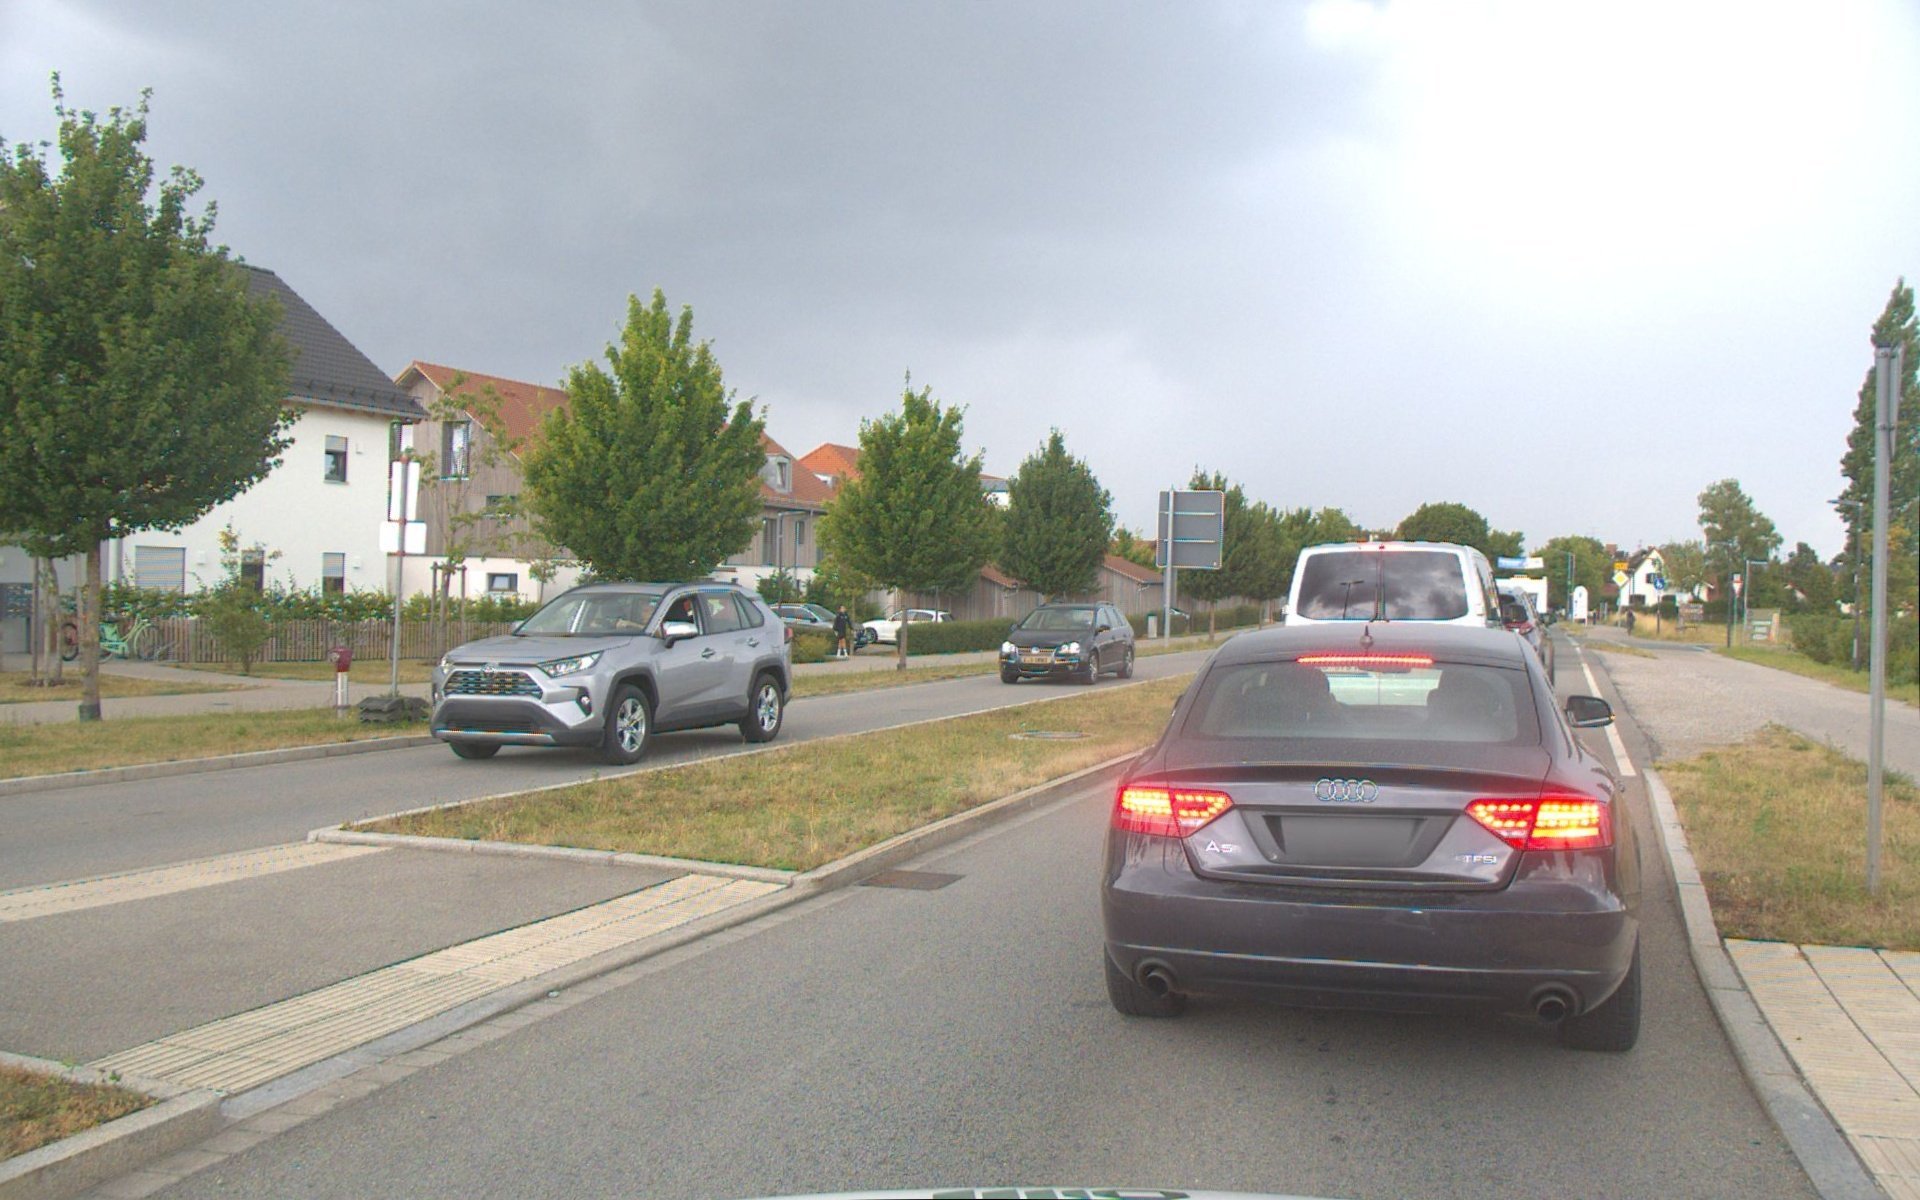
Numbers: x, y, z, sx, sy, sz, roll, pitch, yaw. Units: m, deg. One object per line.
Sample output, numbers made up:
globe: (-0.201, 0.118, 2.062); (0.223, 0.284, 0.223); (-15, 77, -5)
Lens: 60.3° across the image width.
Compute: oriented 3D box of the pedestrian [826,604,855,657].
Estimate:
pedestrian: (-3.650, 0.910, 50.388); (0.645, 1.586, 0.582); (1, 0, 30)

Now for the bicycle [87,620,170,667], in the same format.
bicycle: (-16.107, 0.834, 32.076); (0.360, 0.858, 1.547); (4, 1, 22)

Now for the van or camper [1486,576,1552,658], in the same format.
van or camper: (24.764, 0.772, 73.138); (2.570, 3.382, 6.823); (2, 0, 19)

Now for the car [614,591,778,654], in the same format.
car: (-7.908, 0.654, 49.519); (4.439, 1.709, 1.999); (2, 0, 24)

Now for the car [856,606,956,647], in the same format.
car: (-2.168, 1.039, 66.589); (3.651, 1.508, 1.687); (2, 0, 17)

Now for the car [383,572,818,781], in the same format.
car: (-3.301, 0.635, 16.288); (1.952, 1.733, 4.635); (0, 0, 21)

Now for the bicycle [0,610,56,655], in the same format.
bicycle: (-18.709, 0.642, 32.893); (0.360, 0.858, 1.337); (4, 1, 22)

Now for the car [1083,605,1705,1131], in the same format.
car: (1.833, 0.741, 6.782); (1.746, 1.416, 4.135); (0, 0, 18)

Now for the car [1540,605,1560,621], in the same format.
car: (51.886, 1.149, 145.499); (1.580, 1.294, 3.461); (2, 0, 21)

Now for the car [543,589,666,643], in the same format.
car: (-12.611, 0.575, 58.963); (1.954, 1.803, 4.462); (1, 0, 25)

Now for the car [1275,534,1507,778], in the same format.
car: (4.150, 0.436, 15.667); (1.828, 1.968, 4.002); (1, 1, 17)

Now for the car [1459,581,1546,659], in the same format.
car: (12.254, 0.439, 37.227); (1.740, 1.646, 4.001); (0, 0, 20)

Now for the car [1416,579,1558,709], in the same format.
car: (7.554, 0.563, 23.493); (1.740, 1.646, 4.001); (1, 0, 20)

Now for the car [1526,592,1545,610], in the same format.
car: (74.831, 0.087, 215.153); (1.954, 2.250, 3.998); (1, 0, 24)

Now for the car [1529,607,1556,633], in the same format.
car: (39.491, 1.333, 112.066); (1.580, 1.659, 3.616); (2, 0, 21)

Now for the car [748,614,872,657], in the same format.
car: (-5.196, 1.211, 57.393); (3.832, 1.338, 1.843); (2, 0, 18)

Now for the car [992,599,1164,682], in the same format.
car: (2.304, 0.710, 31.044); (1.719, 1.441, 4.452); (0, 0, 26)
